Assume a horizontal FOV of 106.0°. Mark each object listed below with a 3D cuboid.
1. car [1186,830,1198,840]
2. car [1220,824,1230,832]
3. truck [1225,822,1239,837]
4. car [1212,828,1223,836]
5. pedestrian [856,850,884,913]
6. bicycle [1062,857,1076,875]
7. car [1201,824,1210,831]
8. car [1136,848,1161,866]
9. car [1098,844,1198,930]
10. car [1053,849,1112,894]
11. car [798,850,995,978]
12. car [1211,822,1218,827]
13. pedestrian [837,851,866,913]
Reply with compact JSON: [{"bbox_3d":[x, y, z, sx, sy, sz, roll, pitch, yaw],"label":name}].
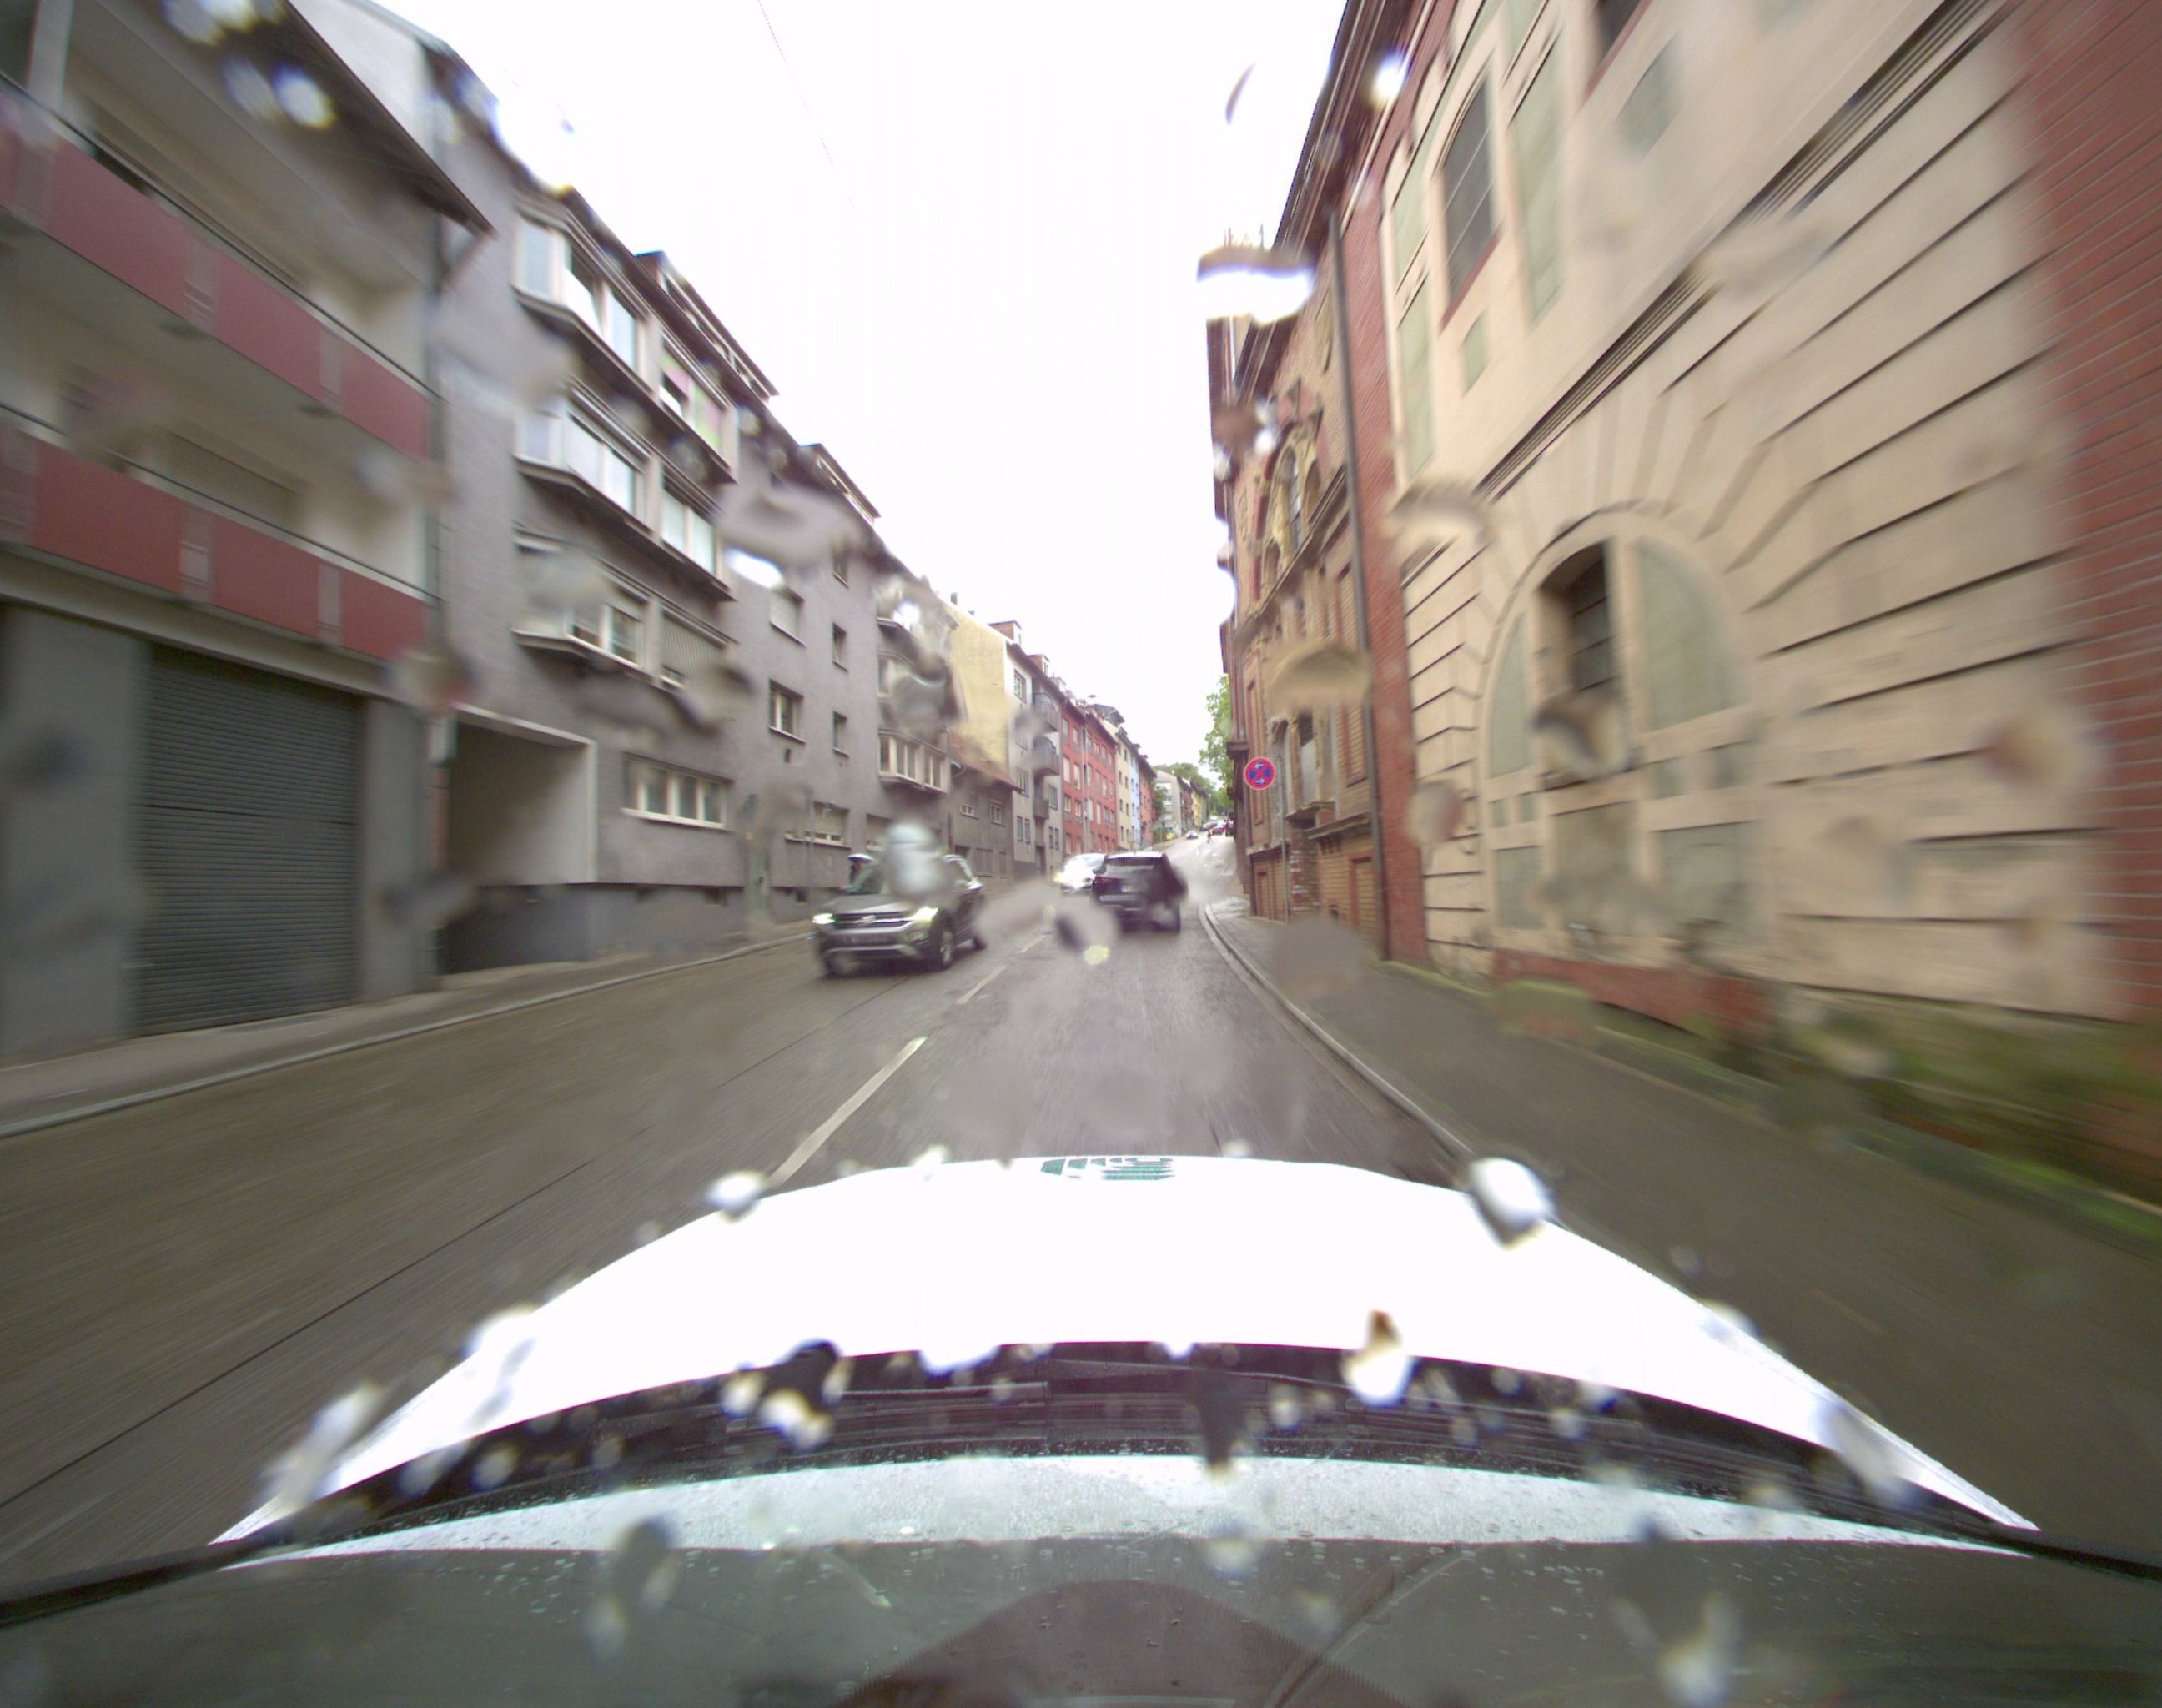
[{"bbox_3d":[18.681,-3.226,137.342,1.703,1.447,3.934,-3,2,11],"label":"car"},{"bbox_3d":[30.219,-5.379,170.996,1.782,1.510,4.013,-3,1,11],"label":"car"},{"bbox_3d":[26.550,-4.240,143.197,2.274,2.440,4.467,-3,1,11],"label":"truck"},{"bbox_3d":[26.108,-4.222,155.877,1.782,1.510,4.013,-3,1,11],"label":"car"},{"bbox_3d":[-6.152,0.785,23.738,0.520,1.776,0.623,-3,0,5],"label":"pedestrian"},{"bbox_3d":[-0.811,0.789,55.572,0.495,1.107,1.806,-2,1,12],"label":"bicycle"},{"bbox_3d":[28.638,-6.122,187.882,1.782,1.510,4.013,-3,1,11],"label":"car"},{"bbox_3d":[6.069,0.243,72.792,1.633,1.378,3.865,-4,0,13],"label":"car"},{"bbox_3d":[1.366,0.618,17.597,1.874,1.594,3.923,-2,0,2],"label":"car"},{"bbox_3d":[0.129,0.661,32.543,1.754,1.576,4.046,-3,0,8],"label":"car"},{"bbox_3d":[-2.574,0.781,12.335,1.756,1.576,3.770,-3,0,5],"label":"car"},{"bbox_3d":[38.116,-8.388,232.091,1.782,1.510,4.013,-3,1,11],"label":"car"},{"bbox_3d":[-6.707,0.809,23.790,0.520,1.776,0.623,-3,0,5],"label":"pedestrian"}]
